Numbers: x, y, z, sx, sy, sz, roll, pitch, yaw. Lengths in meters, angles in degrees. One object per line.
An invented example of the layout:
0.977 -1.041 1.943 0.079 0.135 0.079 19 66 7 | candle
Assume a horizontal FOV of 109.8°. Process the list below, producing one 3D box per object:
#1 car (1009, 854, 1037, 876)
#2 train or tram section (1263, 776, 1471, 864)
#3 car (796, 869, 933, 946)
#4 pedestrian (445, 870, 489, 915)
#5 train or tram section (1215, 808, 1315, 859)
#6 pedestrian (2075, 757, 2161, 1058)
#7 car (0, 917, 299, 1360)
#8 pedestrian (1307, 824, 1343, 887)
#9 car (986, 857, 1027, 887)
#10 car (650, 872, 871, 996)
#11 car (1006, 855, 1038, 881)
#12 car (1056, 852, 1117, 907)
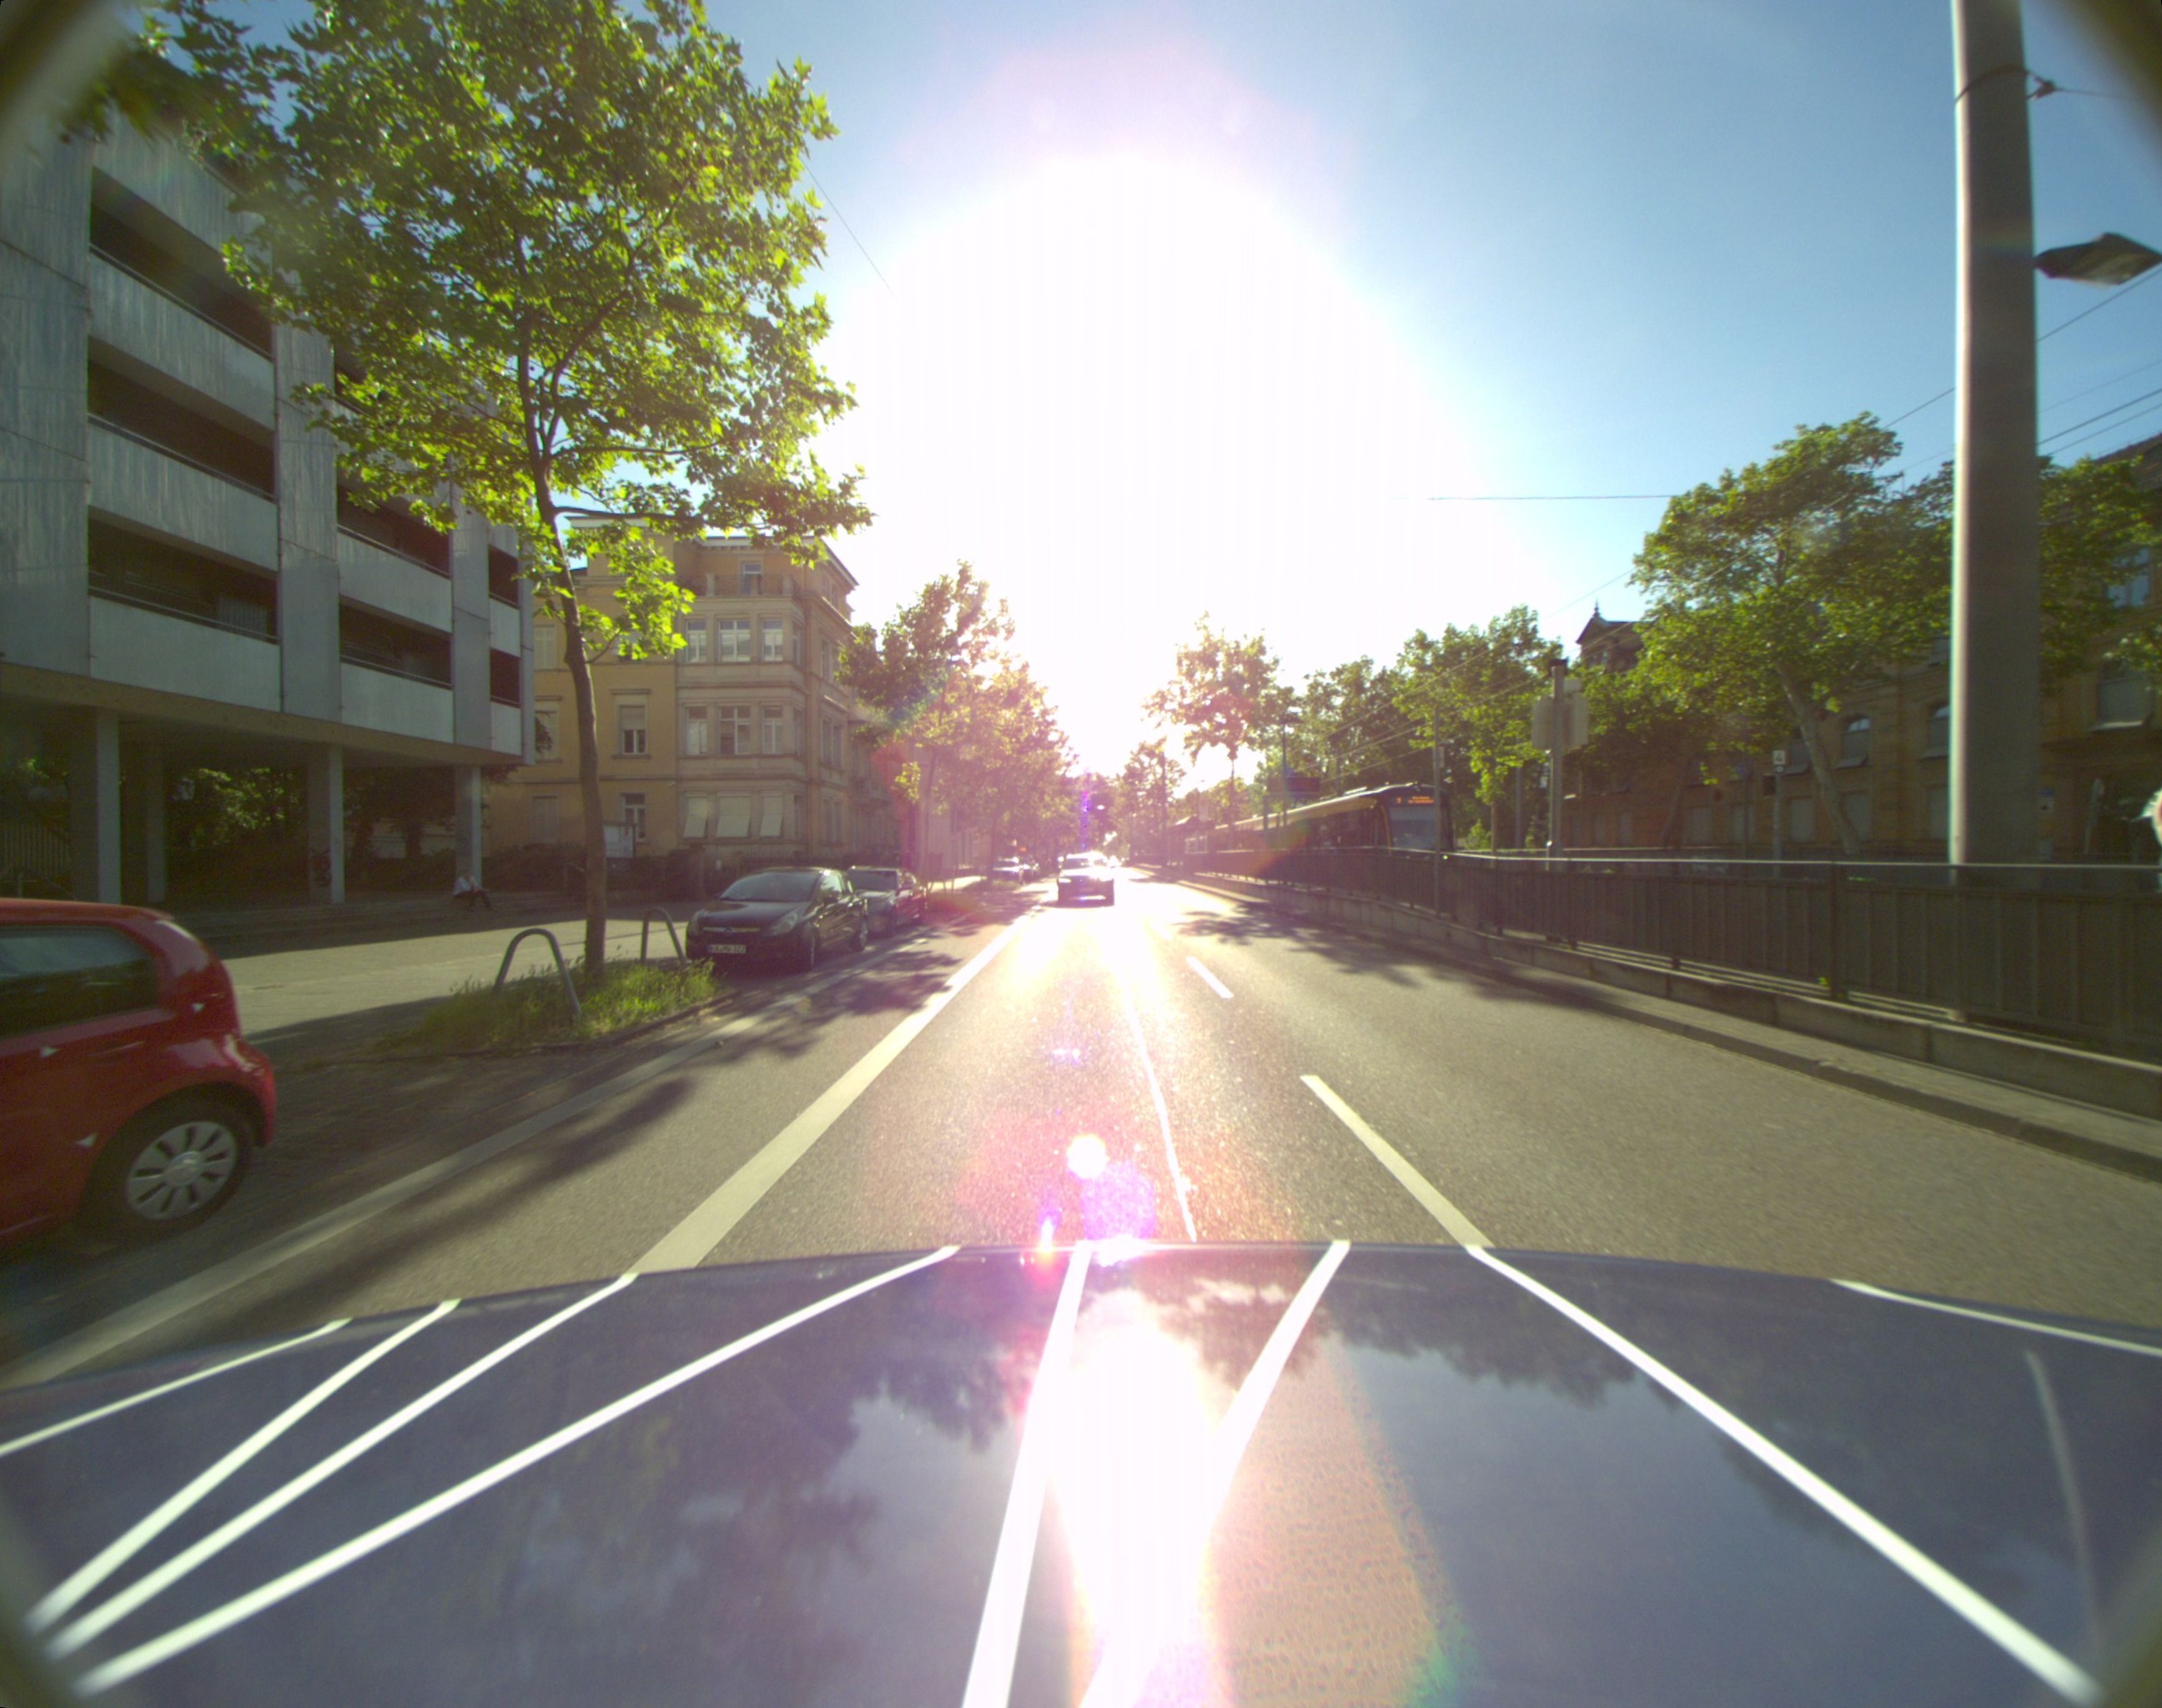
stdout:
-4.584 0.842 60.383 1.839 1.666 4.273 0 0 1 | car
10.311 -1.028 30.214 2.569 2.549 15.675 -1 0 1 | train or tram section
-4.649 1.091 16.985 1.781 1.373 4.276 -1 0 1 | car
-15.569 0.973 19.277 0.560 1.103 0.684 0 1 1 | pedestrian
10.544 -1.067 45.585 2.569 2.517 15.073 -1 0 1 | train or tram section
6.428 0.299 4.340 0.683 1.700 0.624 -1 1 0 | pedestrian
-4.631 1.060 1.836 1.677 1.430 3.689 2 1 0 | car
6.480 0.039 20.165 0.700 1.626 0.761 -1 1 1 | pedestrian
-4.190 0.997 43.448 1.839 1.556 4.273 -1 0 1 | car
-4.555 1.051 11.465 1.630 1.433 3.930 1 0 1 | car
-4.028 0.945 52.566 1.839 1.666 4.273 -1 0 1 | car
0.211 0.814 26.641 1.914 1.695 4.273 -1 1 1 | car
